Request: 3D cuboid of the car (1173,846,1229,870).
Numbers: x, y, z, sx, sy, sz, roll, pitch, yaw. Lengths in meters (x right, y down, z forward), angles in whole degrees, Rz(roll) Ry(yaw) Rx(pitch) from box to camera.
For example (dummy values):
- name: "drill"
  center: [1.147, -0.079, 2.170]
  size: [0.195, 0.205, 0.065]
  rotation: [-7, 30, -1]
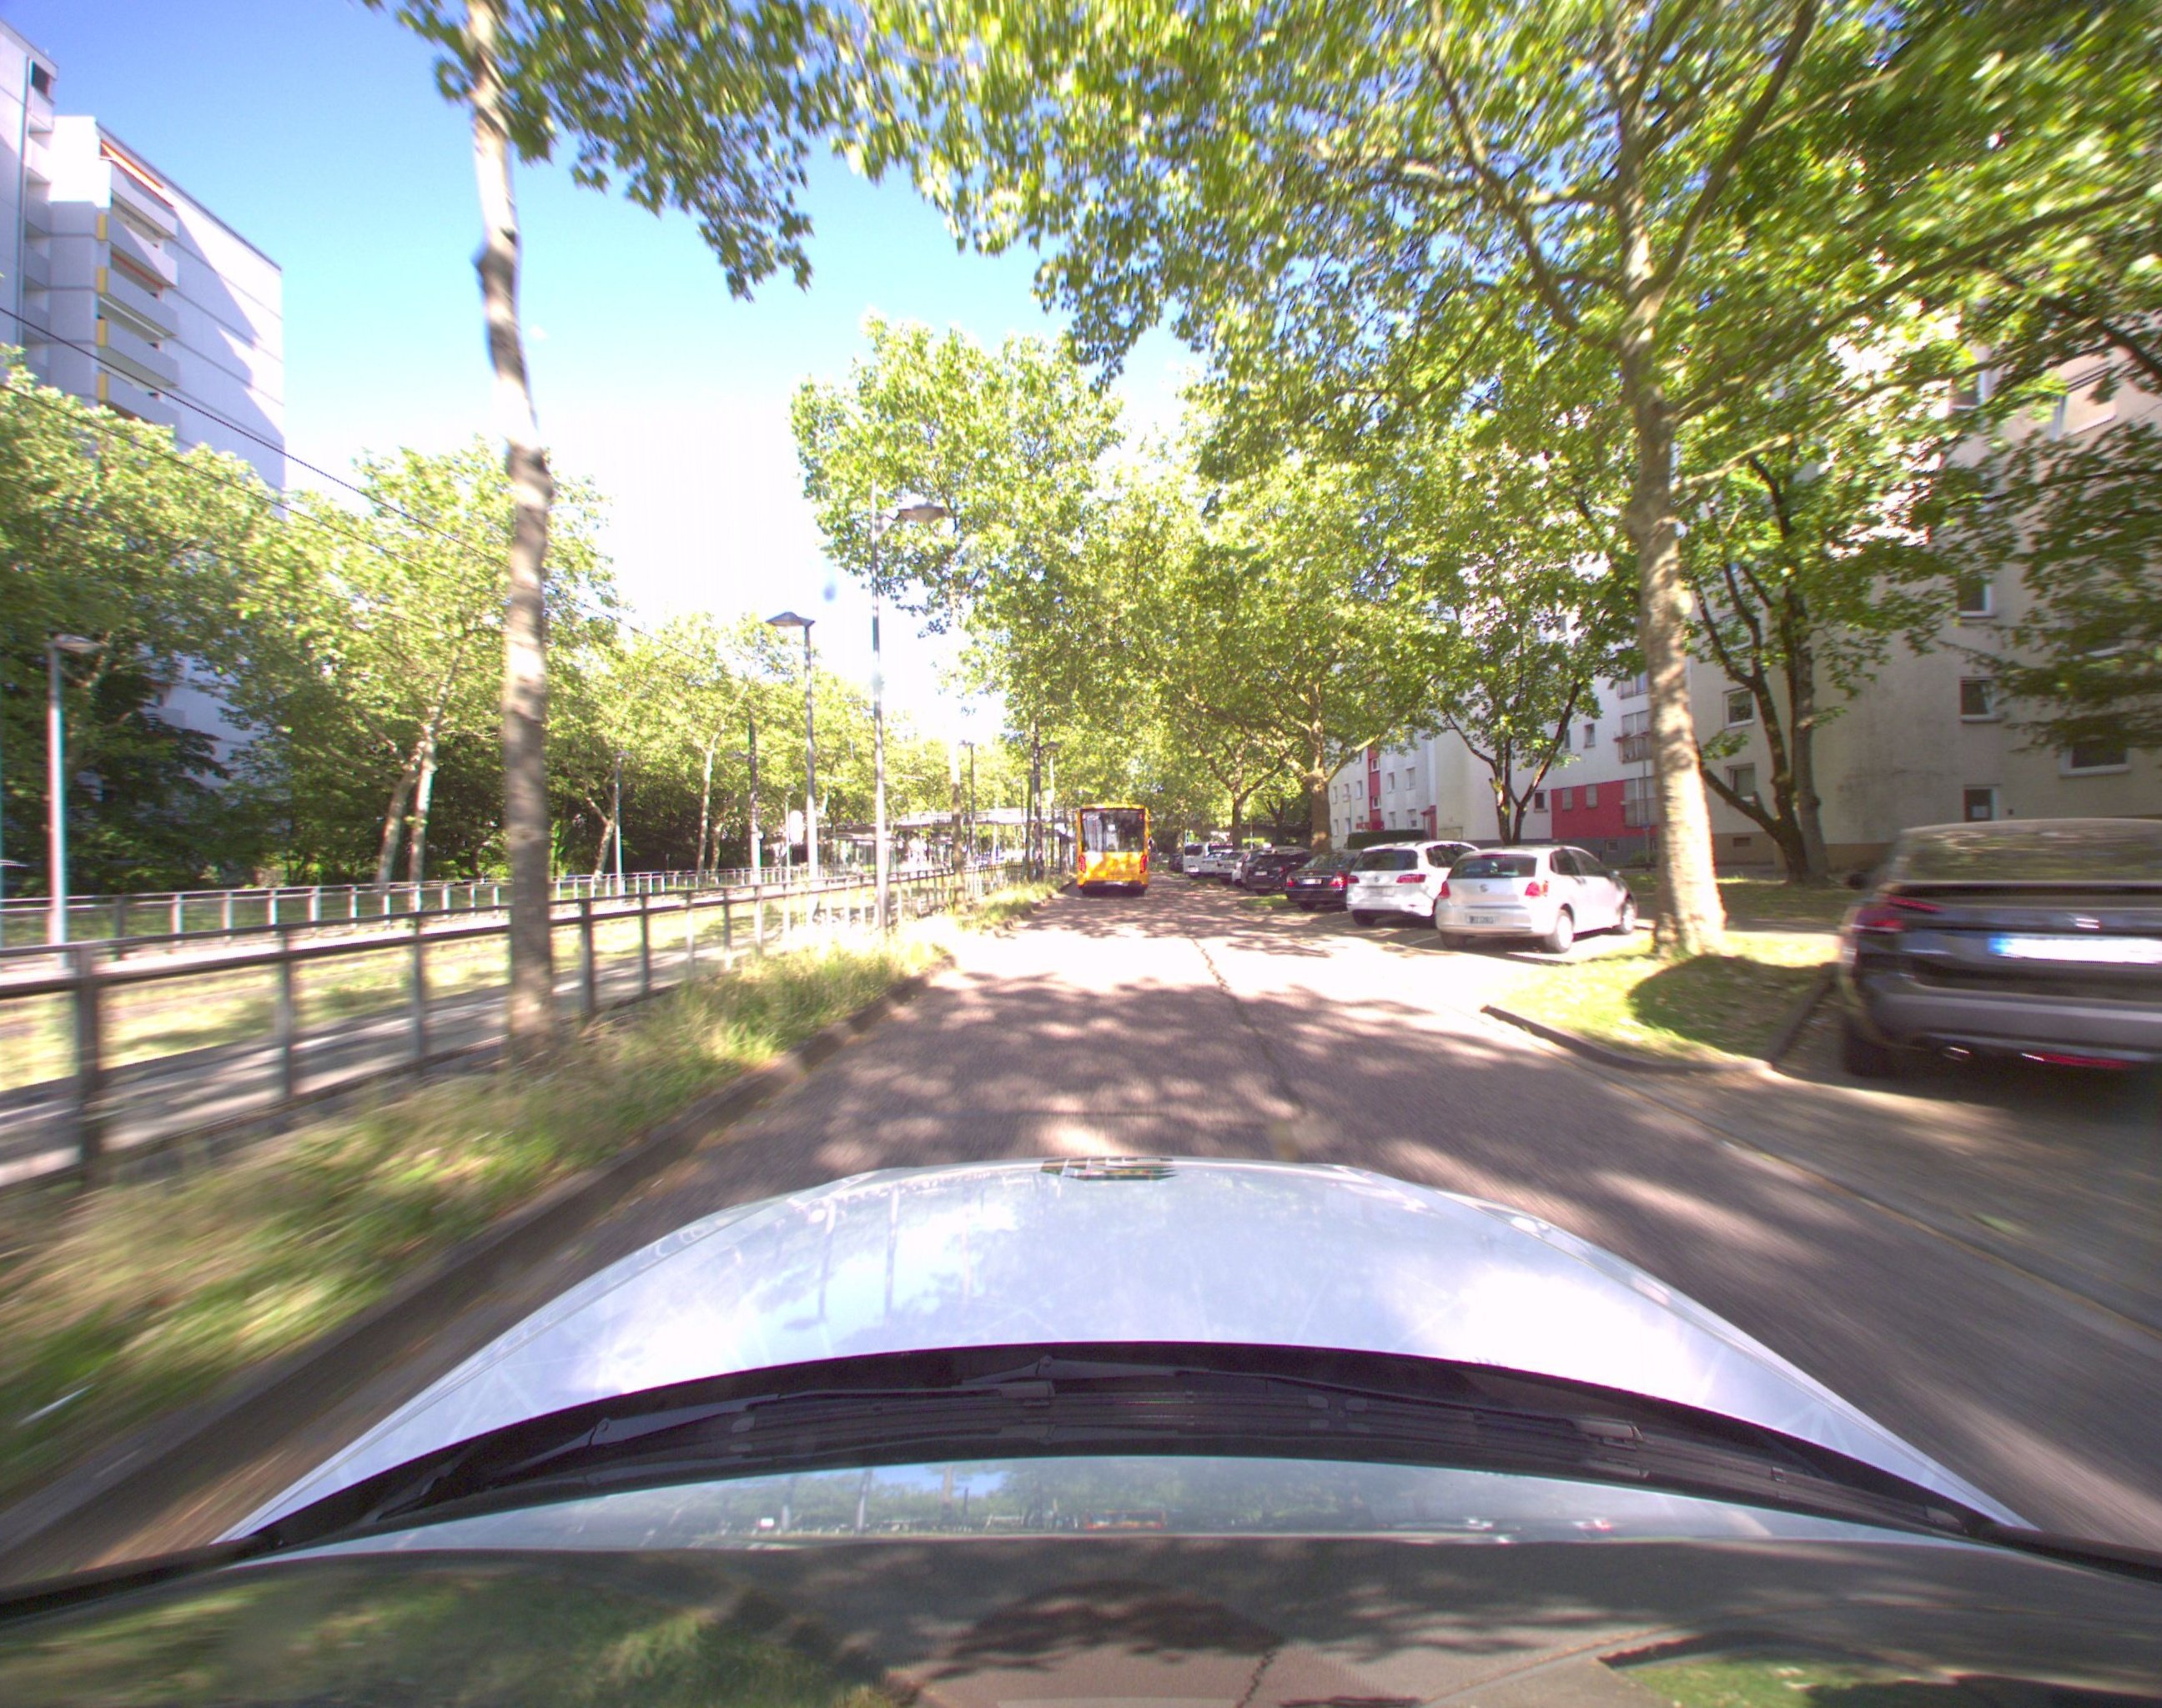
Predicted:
- name: "car"
  center: [8.796, 0.275, 59.430]
  size: [4.022, 1.468, 1.761]
  rotation: [-4, 0, -41]

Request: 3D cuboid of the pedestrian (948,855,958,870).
- name: "pedestrian"
  center: [-11.426, 0.757, 72.863]
  size: [0.775, 1.238, 0.722]
  rotation: [-1, 0, 1]

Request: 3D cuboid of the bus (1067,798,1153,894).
- name: "bus"
  center: [1.147, -0.274, 34.213]
  size: [2.889, 3.266, 12.221]
  rotation: [-1, 0, 1]

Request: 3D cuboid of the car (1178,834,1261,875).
- name: "car"
  center: [7.913, 0.010, 46.353]
  size: [4.613, 2.052, 1.994]
  rotation: [-4, 0, -38]

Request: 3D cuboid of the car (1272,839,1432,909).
- name: "car"
  center: [6.868, 0.444, 20.379]
  size: [4.616, 1.422, 1.778]
  rotation: [-3, 0, -43]

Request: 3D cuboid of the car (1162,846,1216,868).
- name: "car"
  center: [8.753, 0.244, 65.684]
  size: [4.278, 1.461, 1.779]
  rotation: [-4, 0, -38]

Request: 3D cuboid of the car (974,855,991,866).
- name: "car"
  center: [-14.956, 0.963, 123.592]
  size: [1.787, 1.580, 4.290]
  rotation: [-1, 0, 2]

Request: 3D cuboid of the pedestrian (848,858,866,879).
- name: "pedestrian"
  center: [-13.088, 0.824, 47.576]
  size: [0.763, 1.183, 0.763]
  rotation: [-1, 0, 3]

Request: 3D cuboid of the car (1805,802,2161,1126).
- name: "car"
  center: [6.324, 0.460, 5.554]
  size: [4.202, 1.510, 1.778]
  rotation: [-3, 0, -45]

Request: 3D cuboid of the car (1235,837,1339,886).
- name: "car"
  center: [7.871, 0.280, 30.956]
  size: [4.022, 1.589, 1.778]
  rotation: [-4, 0, -41]

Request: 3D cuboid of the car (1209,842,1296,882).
- name: "car"
  center: [7.863, 0.339, 37.126]
  size: [1.777, 1.510, 4.237]
  rotation: [-4, 0, 44]

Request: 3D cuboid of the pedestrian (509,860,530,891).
- name: "pedestrian"
  center: [-31.056, 1.182, 45.034]
  size: [0.645, 1.661, 0.651]
  rotation: [-1, 0, 3]

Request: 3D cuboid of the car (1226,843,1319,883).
- name: "car"
  center: [8.061, 0.360, 34.093]
  size: [4.023, 1.419, 1.809]
  rotation: [-4, 0, -43]

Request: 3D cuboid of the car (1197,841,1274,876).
- name: "car"
  center: [8.249, 0.217, 43.232]
  size: [4.080, 1.580, 1.811]
  rotation: [-4, 0, -41]

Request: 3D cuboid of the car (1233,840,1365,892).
- name: "car"
  center: [7.421, 0.393, 27.525]
  size: [4.430, 1.428, 1.929]
  rotation: [-4, 0, -37]

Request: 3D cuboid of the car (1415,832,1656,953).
- name: "car"
  center: [6.948, 0.475, 12.294]
  size: [4.020, 1.444, 1.779]
  rotation: [-3, 0, -39]

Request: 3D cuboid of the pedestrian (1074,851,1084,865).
- name: "pedestrian"
  center: [-0.150, 0.381, 73.823]
  size: [0.851, 1.243, 0.851]
  rotation: [0, 0, 4]

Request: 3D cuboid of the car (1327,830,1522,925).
- name: "car"
  center: [6.861, 0.395, 16.111]
  size: [4.020, 1.576, 1.779]
  rotation: [-3, 0, -38]

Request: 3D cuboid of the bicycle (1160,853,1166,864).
- name: "bicycle"
  center: [9.565, 0.506, 95.018]
  size: [0.588, 1.182, 1.801]
  rotation: [-4, 1, 1]

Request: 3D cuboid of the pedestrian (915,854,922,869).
- name: "pedestrian"
  center: [-18.274, 0.834, 91.594]
  size: [0.646, 1.661, 0.649]
  rotation: [-1, 0, -2]

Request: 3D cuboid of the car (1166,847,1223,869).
- name: "car"
  center: [8.753, 0.290, 62.584]
  size: [4.278, 1.461, 1.779]
  rotation: [-4, 0, -38]
